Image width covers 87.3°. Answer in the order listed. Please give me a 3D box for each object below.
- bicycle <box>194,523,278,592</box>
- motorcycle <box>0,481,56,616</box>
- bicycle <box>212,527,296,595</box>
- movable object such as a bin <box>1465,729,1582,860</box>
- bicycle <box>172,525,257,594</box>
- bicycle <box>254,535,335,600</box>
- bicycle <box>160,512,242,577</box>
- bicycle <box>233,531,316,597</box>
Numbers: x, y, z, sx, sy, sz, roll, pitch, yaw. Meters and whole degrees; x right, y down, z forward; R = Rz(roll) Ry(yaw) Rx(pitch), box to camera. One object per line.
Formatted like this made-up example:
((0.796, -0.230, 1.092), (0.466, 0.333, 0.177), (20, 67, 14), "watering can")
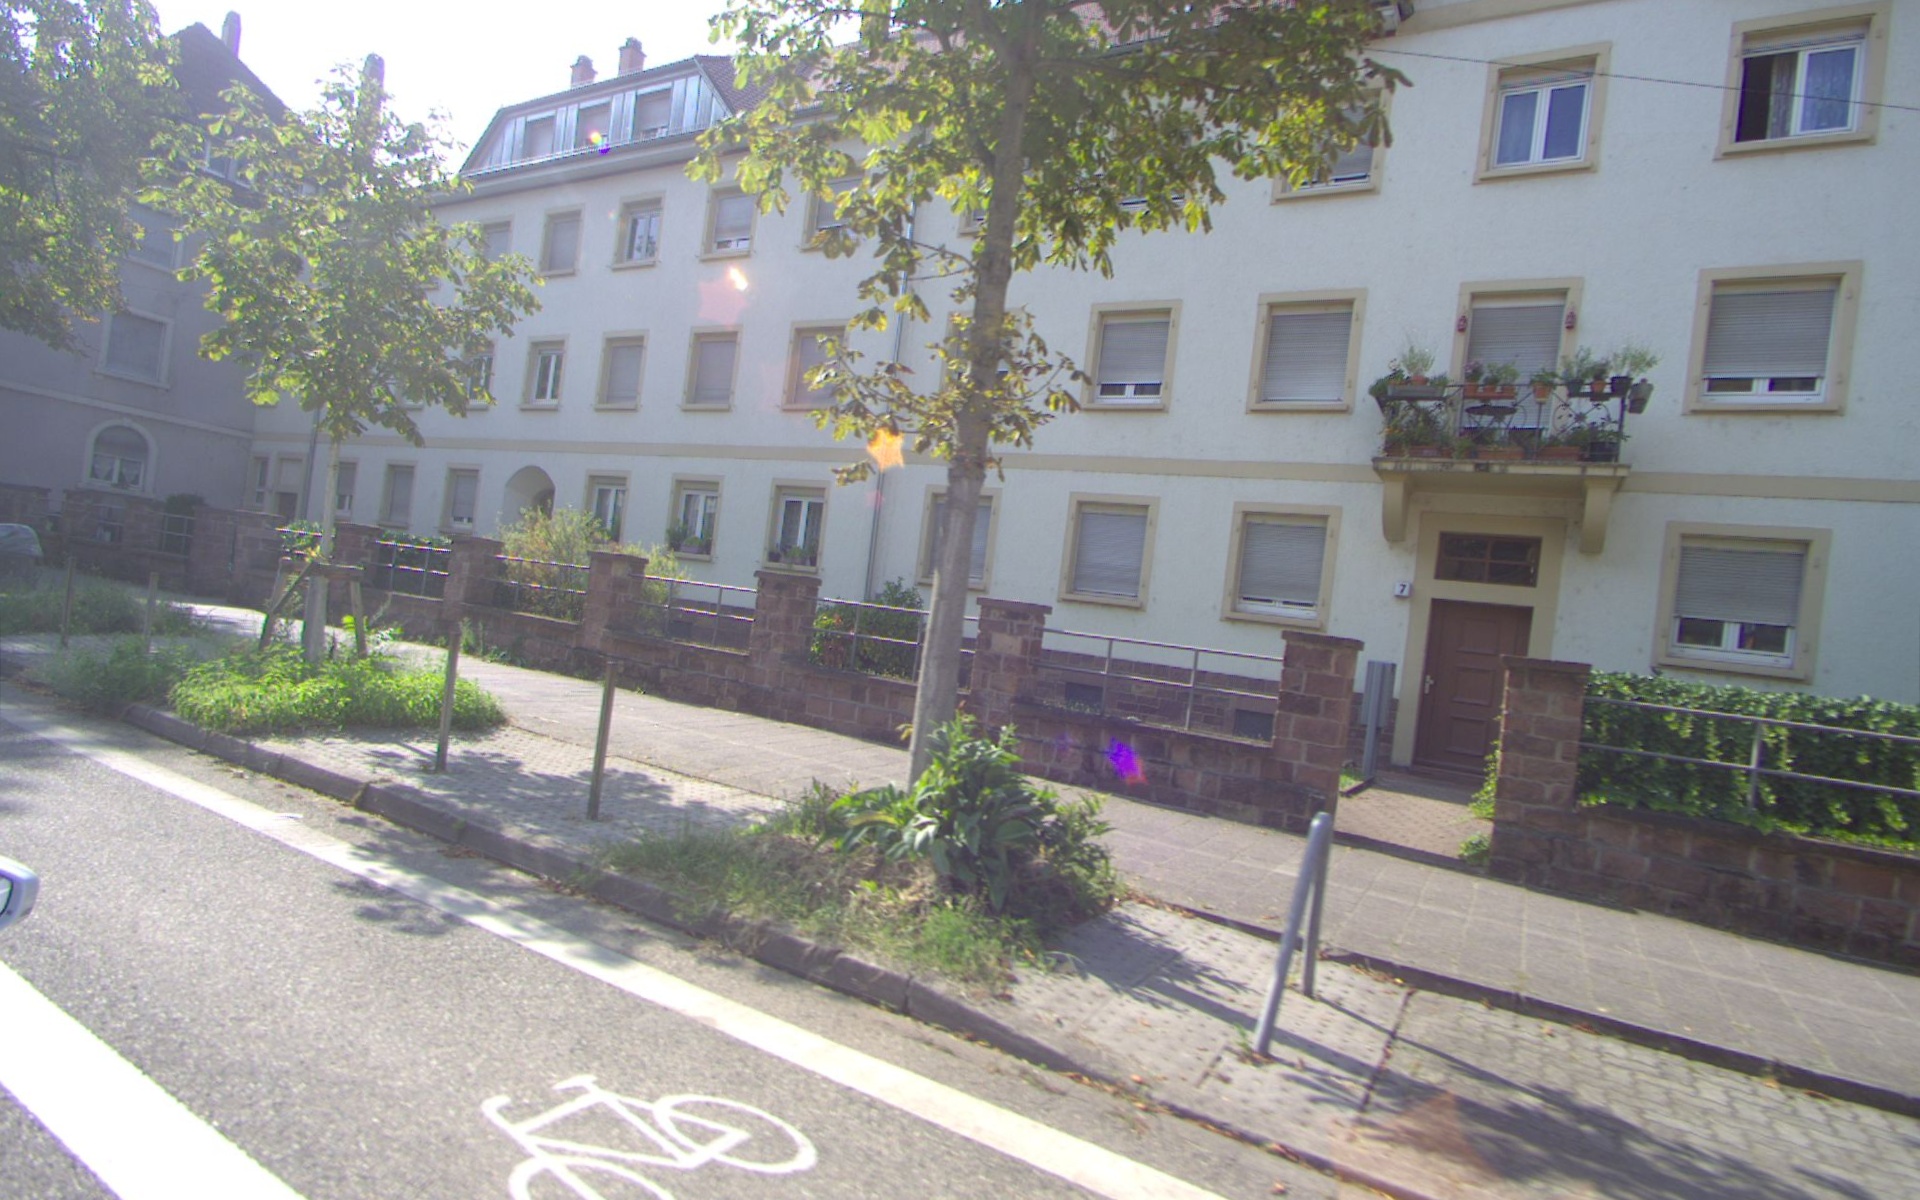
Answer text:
((-14.188, -0.844, 19.705), (1.965, 1.117, 0.425), (7, 0, 28), "bicycle")
((-13.378, -0.796, 12.908), (2.382, 1.695, 0.910), (7, 2, -15), "motorcycle")
((-14.019, -0.784, 19.953), (1.965, 1.117, 0.425), (7, 0, 28), "bicycle")
((4.694, 1.597, 8.388), (0.736, 0.907, 0.507), (7, 0, 31), "movable object such as a bin")
((-14.397, -0.787, 19.407), (1.965, 1.117, 0.424), (7, 0, 28), "bicycle")
((-13.754, -0.686, 20.769), (1.965, 1.117, 0.425), (7, 0, 28), "bicycle")
((-15.729, -1.160, 20.833), (1.841, 1.117, 0.539), (7, 0, 28), "bicycle")
((-13.870, -0.739, 20.342), (1.965, 1.117, 0.425), (7, 0, 28), "bicycle")
